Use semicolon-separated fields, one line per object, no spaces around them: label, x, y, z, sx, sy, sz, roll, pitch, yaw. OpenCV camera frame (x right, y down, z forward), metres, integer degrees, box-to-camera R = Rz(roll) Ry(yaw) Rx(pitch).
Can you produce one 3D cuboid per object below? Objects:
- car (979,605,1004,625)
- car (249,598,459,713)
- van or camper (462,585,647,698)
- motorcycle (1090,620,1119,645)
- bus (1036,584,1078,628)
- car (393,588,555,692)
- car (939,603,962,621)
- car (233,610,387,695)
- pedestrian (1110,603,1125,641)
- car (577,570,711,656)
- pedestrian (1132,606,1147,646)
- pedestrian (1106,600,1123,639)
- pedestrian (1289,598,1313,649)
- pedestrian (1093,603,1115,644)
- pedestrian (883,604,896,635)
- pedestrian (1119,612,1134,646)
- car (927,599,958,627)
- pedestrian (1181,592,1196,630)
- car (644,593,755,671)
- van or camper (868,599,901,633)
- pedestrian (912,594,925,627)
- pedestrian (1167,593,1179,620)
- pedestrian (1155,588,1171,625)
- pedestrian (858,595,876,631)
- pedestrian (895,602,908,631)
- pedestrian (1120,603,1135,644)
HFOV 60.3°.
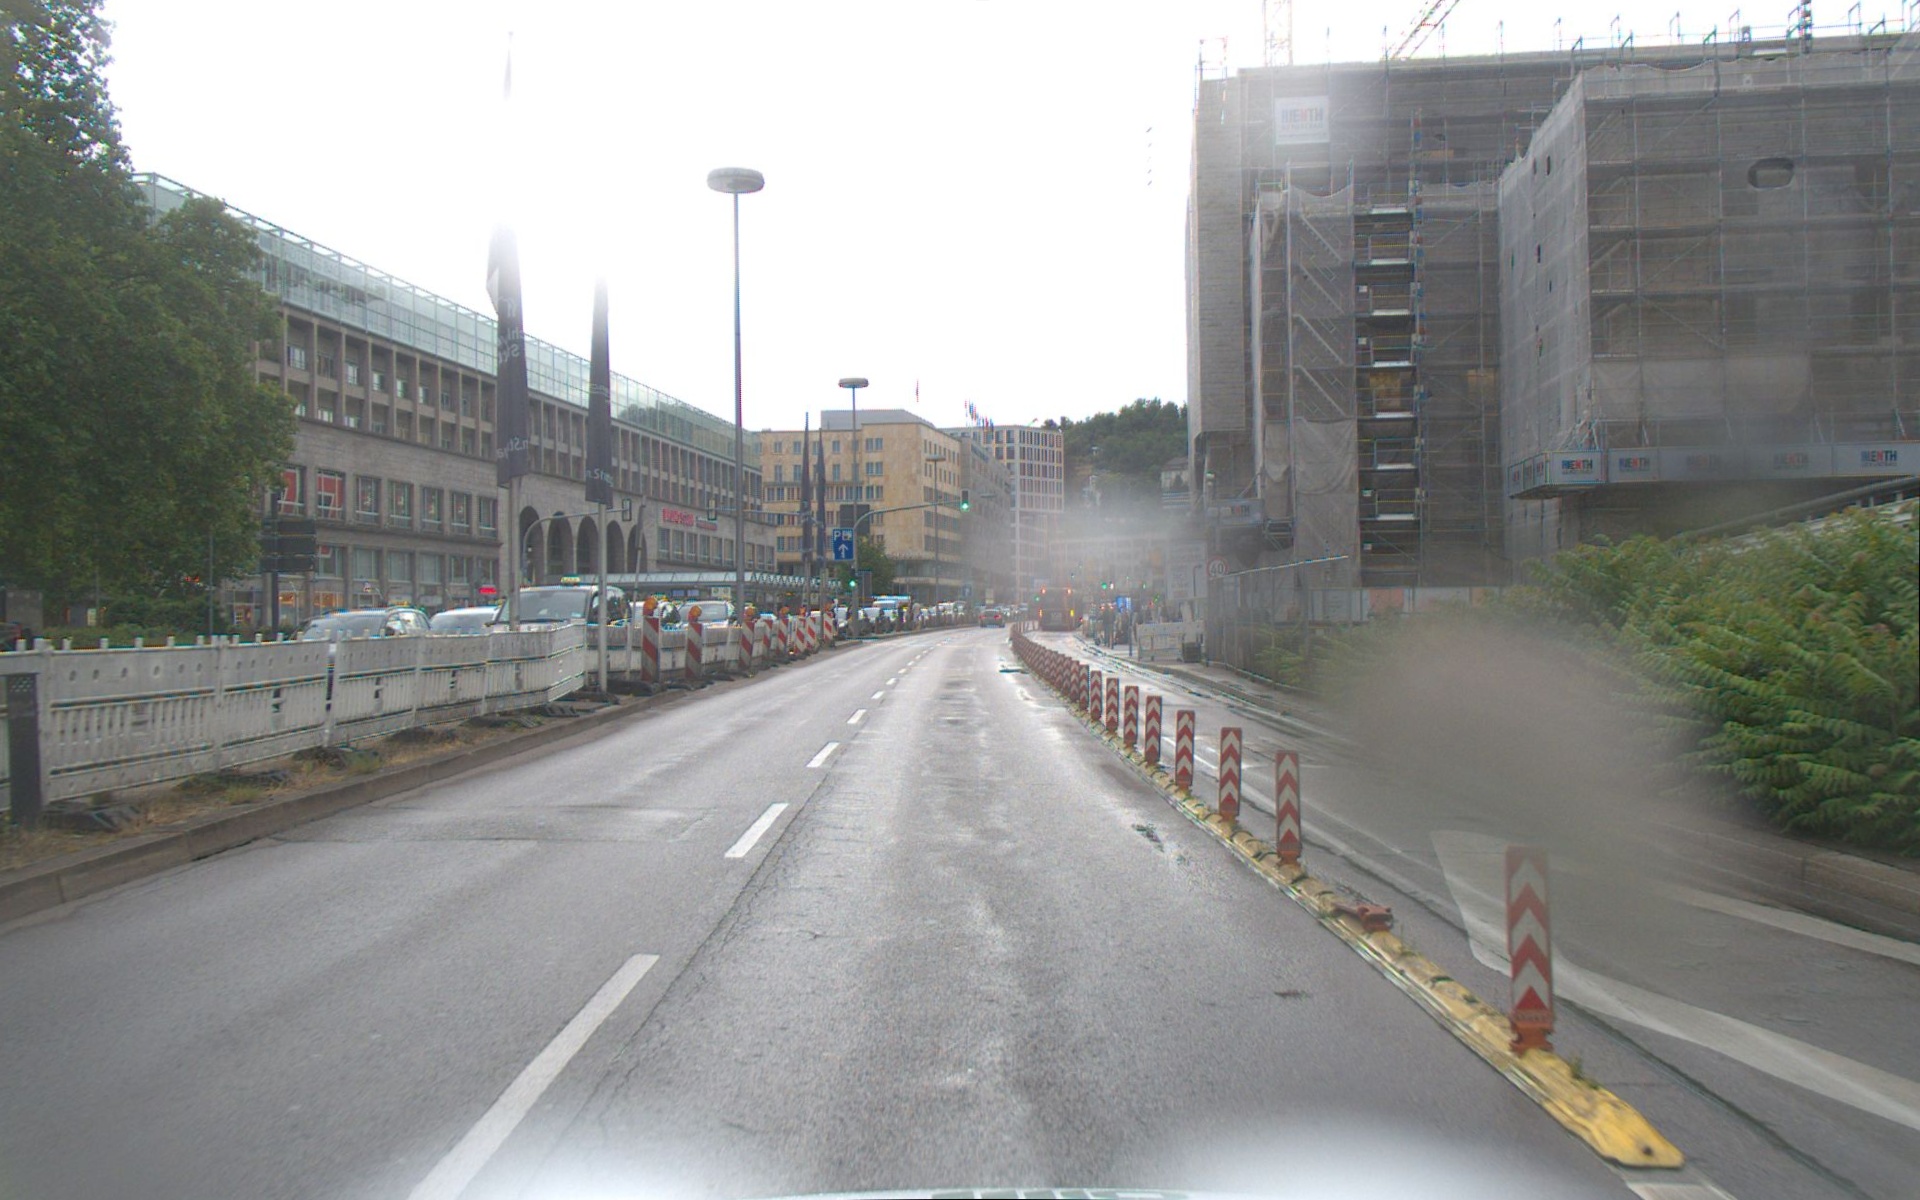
car;2.592;1.226;136.243;1.952;1.579;4.001;-2;1;1
car;-10.355;0.885;28.637;1.851;1.732;4.303;0;1;3
van or camper;-7.278;0.664;30.301;1.905;1.851;5.394;0;1;2
motorcycle;6.309;1.420;72.243;0.580;1.039;1.223;-2;1;-37
bus;7.362;0.395;124.193;2.697;3.122;9.087;0;1;6
car;-10.348;0.788;35.583;1.875;1.883;4.568;4;1;2
car;-0.883;1.142;161.701;1.952;1.579;4.002;-2;1;4
car;-15.238;1.184;39.029;1.851;1.732;4.302;0;1;1
pedestrian;7.221;1.021;75.931;0.546;1.669;0.752;-4;1;7
car;-7.371;0.238;39.091;1.952;1.801;4.813;-2;2;3
pedestrian;7.740;1.102;71.212;0.546;1.679;0.615;-4;1;7
pedestrian;7.211;0.901;77.080;0.547;1.789;0.751;-4;1;-8
pedestrian;12.590;0.870;61.060;0.658;1.864;1.015;0;0;-1
pedestrian;6.293;1.030;72.251;0.575;1.771;0.811;-1;1;-37
pedestrian;-3.948;1.089;92.688;0.637;1.741;0.593;0;1;4
pedestrian;7.384;1.275;73.252;0.546;1.474;0.712;-4;1;7
car;-1.493;1.078;143.469;1.951;2.216;5.549;-1;1;7
pedestrian;10.489;0.508;75.831;0.538;1.660;0.996;-4;1;6
car;-7.062;0.814;45.363;1.952;1.849;4.813;-2;2;3
van or camper;-6.202;1.284;136.070;1.952;2.557;5.373;-4;1;4
pedestrian;-2.608;0.675;103.317;0.707;2.042;0.773;0;1;6
pedestrian;13.010;0.390;100.920;0.637;1.566;0.666;-4;1;7
pedestrian;10.741;0.359;87.364;0.707;1.879;0.811;-4;1;6
pedestrian;-4.689;0.656;83.700;0.767;1.806;0.606;-4;1;-6
pedestrian;-3.624;1.015;103.227;0.684;1.785;0.712;-1;1;6
pedestrian;7.505;1.067;74.088;0.546;1.782;0.712;-4;1;7
